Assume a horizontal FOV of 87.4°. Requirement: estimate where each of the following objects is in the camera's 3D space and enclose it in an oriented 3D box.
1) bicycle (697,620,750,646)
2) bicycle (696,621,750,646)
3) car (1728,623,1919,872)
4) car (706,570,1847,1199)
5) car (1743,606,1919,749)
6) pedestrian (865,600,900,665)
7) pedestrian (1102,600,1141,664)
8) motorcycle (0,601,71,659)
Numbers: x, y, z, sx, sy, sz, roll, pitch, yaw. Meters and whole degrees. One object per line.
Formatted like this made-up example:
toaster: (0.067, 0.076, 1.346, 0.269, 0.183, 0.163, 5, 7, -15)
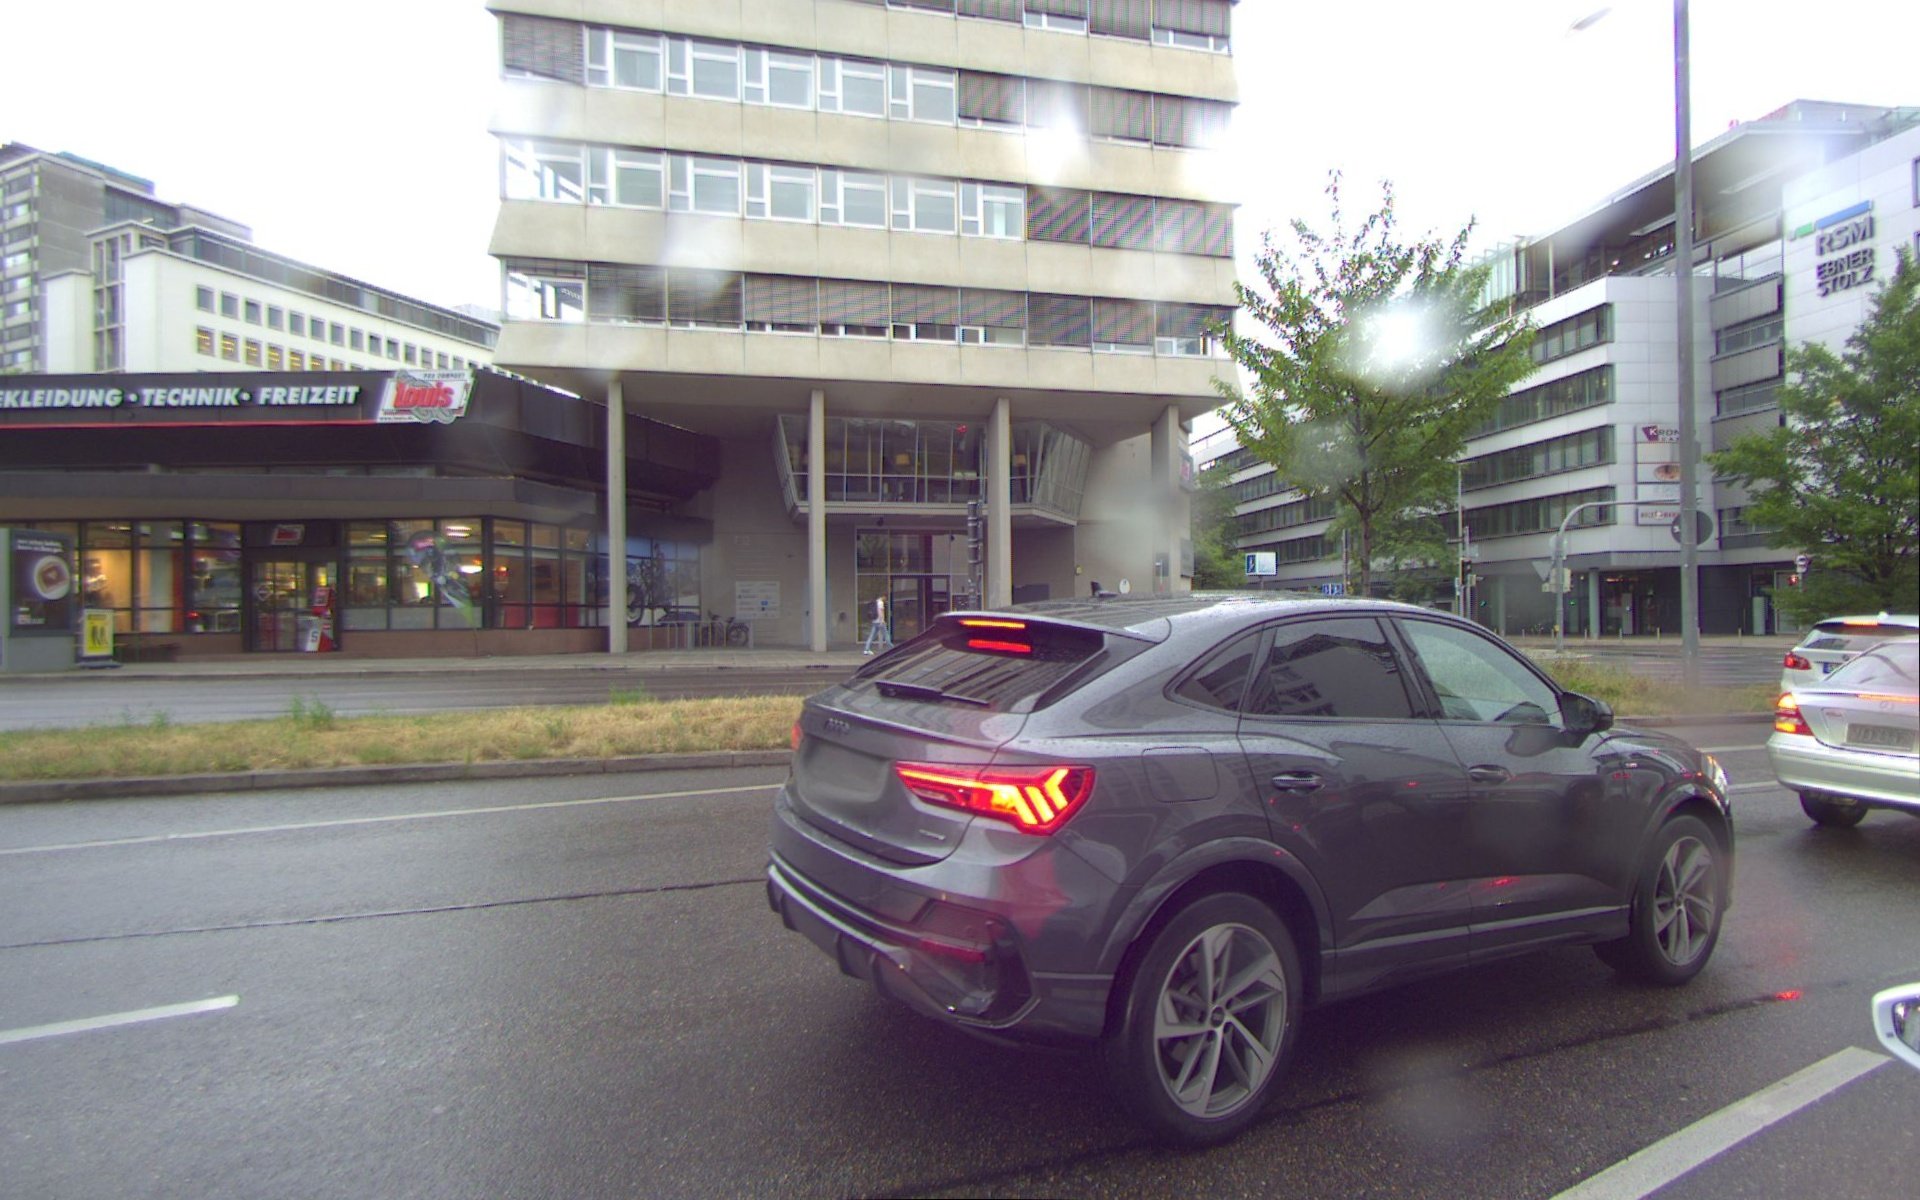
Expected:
bicycle: (-8.096, 1.130, 34.437, 1.743, 0.823, 0.454, 1, 0, -12)
bicycle: (-7.982, 1.129, 33.857, 1.743, 0.823, 0.454, 1, 0, -12)
car: (7.665, 0.933, 7.177, 4.137, 1.505, 1.678, 1, -1, -24)
car: (1.413, 0.709, 3.817, 4.242, 1.454, 1.925, 1, -1, -34)
car: (12.475, 0.918, 12.957, 3.937, 1.617, 1.883, 1, 0, -18)
pedestrian: (-2.251, 0.941, 29.111, 0.909, 1.857, 0.817, 1, 0, -14)
pedestrian: (4.771, 0.945, 29.779, 0.909, 1.857, 0.727, 1, -1, -14)
motorcycle: (-23.584, 0.730, 24.690, 0.788, 1.392, 2.893, 1, 0, 3)
